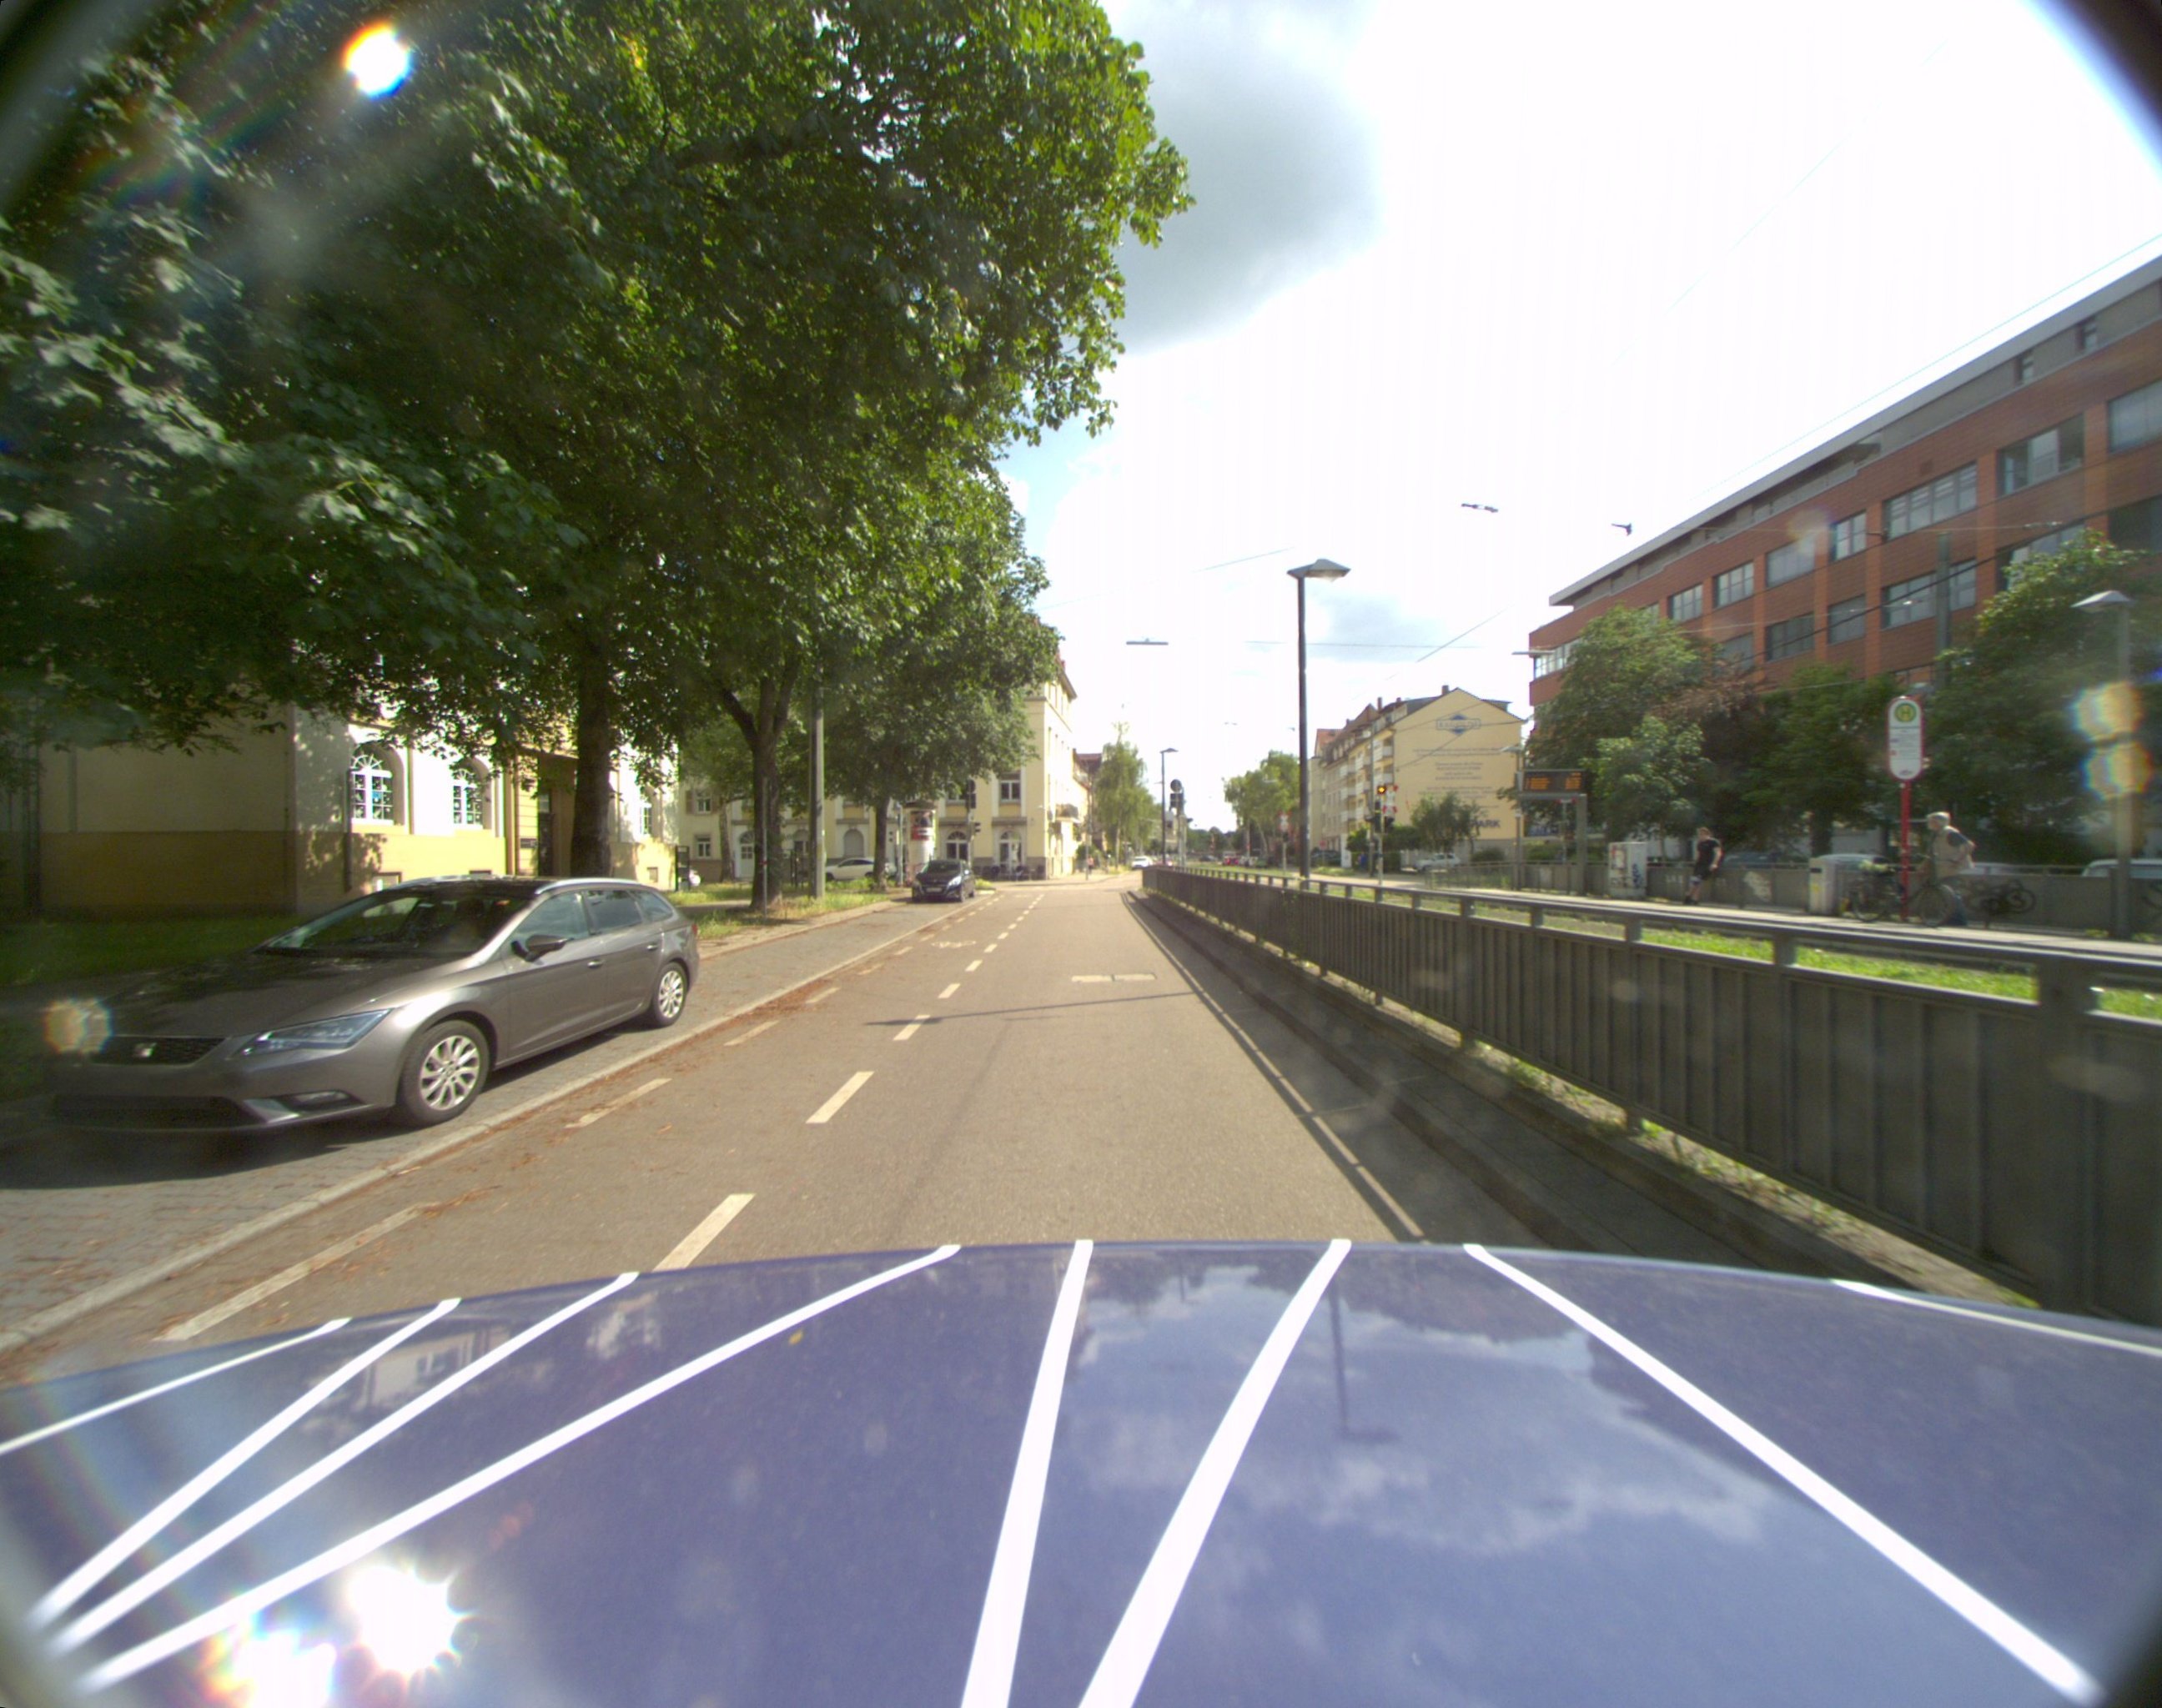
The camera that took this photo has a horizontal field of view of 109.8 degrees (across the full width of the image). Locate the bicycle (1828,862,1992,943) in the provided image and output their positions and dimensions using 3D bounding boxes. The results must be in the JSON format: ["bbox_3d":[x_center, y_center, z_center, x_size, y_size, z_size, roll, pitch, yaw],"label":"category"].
[{"bbox_3d":[12.795,0.709,11.820,0.663,1.107,1.878,1,1,9],"label":"bicycle"}]

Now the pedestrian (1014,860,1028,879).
[{"bbox_3d":[-3.966,1.031,50.473,0.804,1.238,0.892,-1,2,3],"label":"pedestrian"}]

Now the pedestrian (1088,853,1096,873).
[{"bbox_3d":[0.894,0.759,63.396,0.593,1.622,0.538,2,1,3],"label":"pedestrian"}]

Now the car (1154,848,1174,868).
[{"bbox_3d":[8.786,0.418,80.375,1.997,2.002,4.001,-2,1,7],"label":"car"}]

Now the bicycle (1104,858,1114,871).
[{"bbox_3d":[2.469,0.936,67.543,0.772,1.097,2.572,-1,-2,-1],"label":"bicycle"}]

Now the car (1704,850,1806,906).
[{"bbox_3d":[22.052,0.724,24.813,3.850,1.649,1.870,-1,0,-39],"label":"car"}]

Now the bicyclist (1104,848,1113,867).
[{"bbox_3d":[2.440,0.307,67.632,0.772,1.663,0.951,-1,-3,0],"label":"bicyclist"}]

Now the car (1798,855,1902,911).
[{"bbox_3d":[22.924,0.801,22.617,4.008,1.487,1.646,-1,0,-37],"label":"car"}]

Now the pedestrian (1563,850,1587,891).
[{"bbox_3d":[22.203,0.738,34.163,0.659,1.782,0.620,1,0,-5],"label":"pedestrian"}]

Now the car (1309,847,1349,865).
[{"bbox_3d":[29.478,0.257,90.432,4.255,2.002,2.001,-1,0,9],"label":"car"}]

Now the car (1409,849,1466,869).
[{"bbox_3d":[27.865,0.418,59.488,3.608,1.470,1.777,0,-3,7],"label":"car"}]

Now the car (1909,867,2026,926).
[{"bbox_3d":[22.218,1.006,19.021,3.258,1.296,1.599,-1,0,-35],"label":"car"}]

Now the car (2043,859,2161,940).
[{"bbox_3d":[21.852,0.882,15.946,3.317,1.412,1.581,-3,1,-30],"label":"car"}]

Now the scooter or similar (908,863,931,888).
[{"bbox_3d":[-7.666,1.024,36.119,0.414,1.171,1.128,-3,-1,28],"label":"scooter or similar"}]

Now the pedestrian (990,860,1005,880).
[{"bbox_3d":[-5.496,1.073,50.026,0.804,1.281,0.759,-1,3,3],"label":"pedestrian"}]

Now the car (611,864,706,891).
[{"bbox_3d":[-23.294,1.246,42.037,1.852,1.344,4.188,0,0,36],"label":"car"}]

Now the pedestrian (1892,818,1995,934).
[{"bbox_3d":[13.178,0.327,11.634,0.640,1.714,0.798,0,1,-2],"label":"pedestrian"}]

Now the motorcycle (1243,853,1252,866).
[{"bbox_3d":[19.403,0.621,88.369,0.634,1.395,2.010,-2,1,3],"label":"motorcycle"}]

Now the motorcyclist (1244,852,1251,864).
[{"bbox_3d":[19.405,0.423,88.393,0.663,1.350,0.693,-2,1,3],"label":"motorcyclist"}]

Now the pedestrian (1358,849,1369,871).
[{"bbox_3d":[22.095,0.450,59.421,0.650,1.700,0.481,-1,1,1],"label":"pedestrian"}]

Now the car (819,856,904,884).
[{"bbox_3d":[-14.003,0.987,48.529,4.828,1.646,1.858,-1,2,10],"label":"car"}]

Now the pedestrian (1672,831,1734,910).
[{"bbox_3d":[13.616,0.356,16.645,0.667,1.689,0.798,0,1,-2],"label":"pedestrian"}]

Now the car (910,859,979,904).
[{"bbox_3d":[-4.718,0.898,26.791,1.689,1.379,3.923,1,1,0],"label":"car"}]

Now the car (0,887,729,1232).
[{"bbox_3d":[-4.757,1.093,5.977,1.834,1.392,4.656,3,0,-1],"label":"car"}]

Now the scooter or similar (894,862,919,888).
[{"bbox_3d":[-8.397,1.012,36.482,1.105,1.234,0.447,0,1,22],"label":"scooter or similar"}]

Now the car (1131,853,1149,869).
[{"bbox_3d":[6.577,0.753,84.833,1.848,1.606,3.814,-2,1,3],"label":"car"}]
